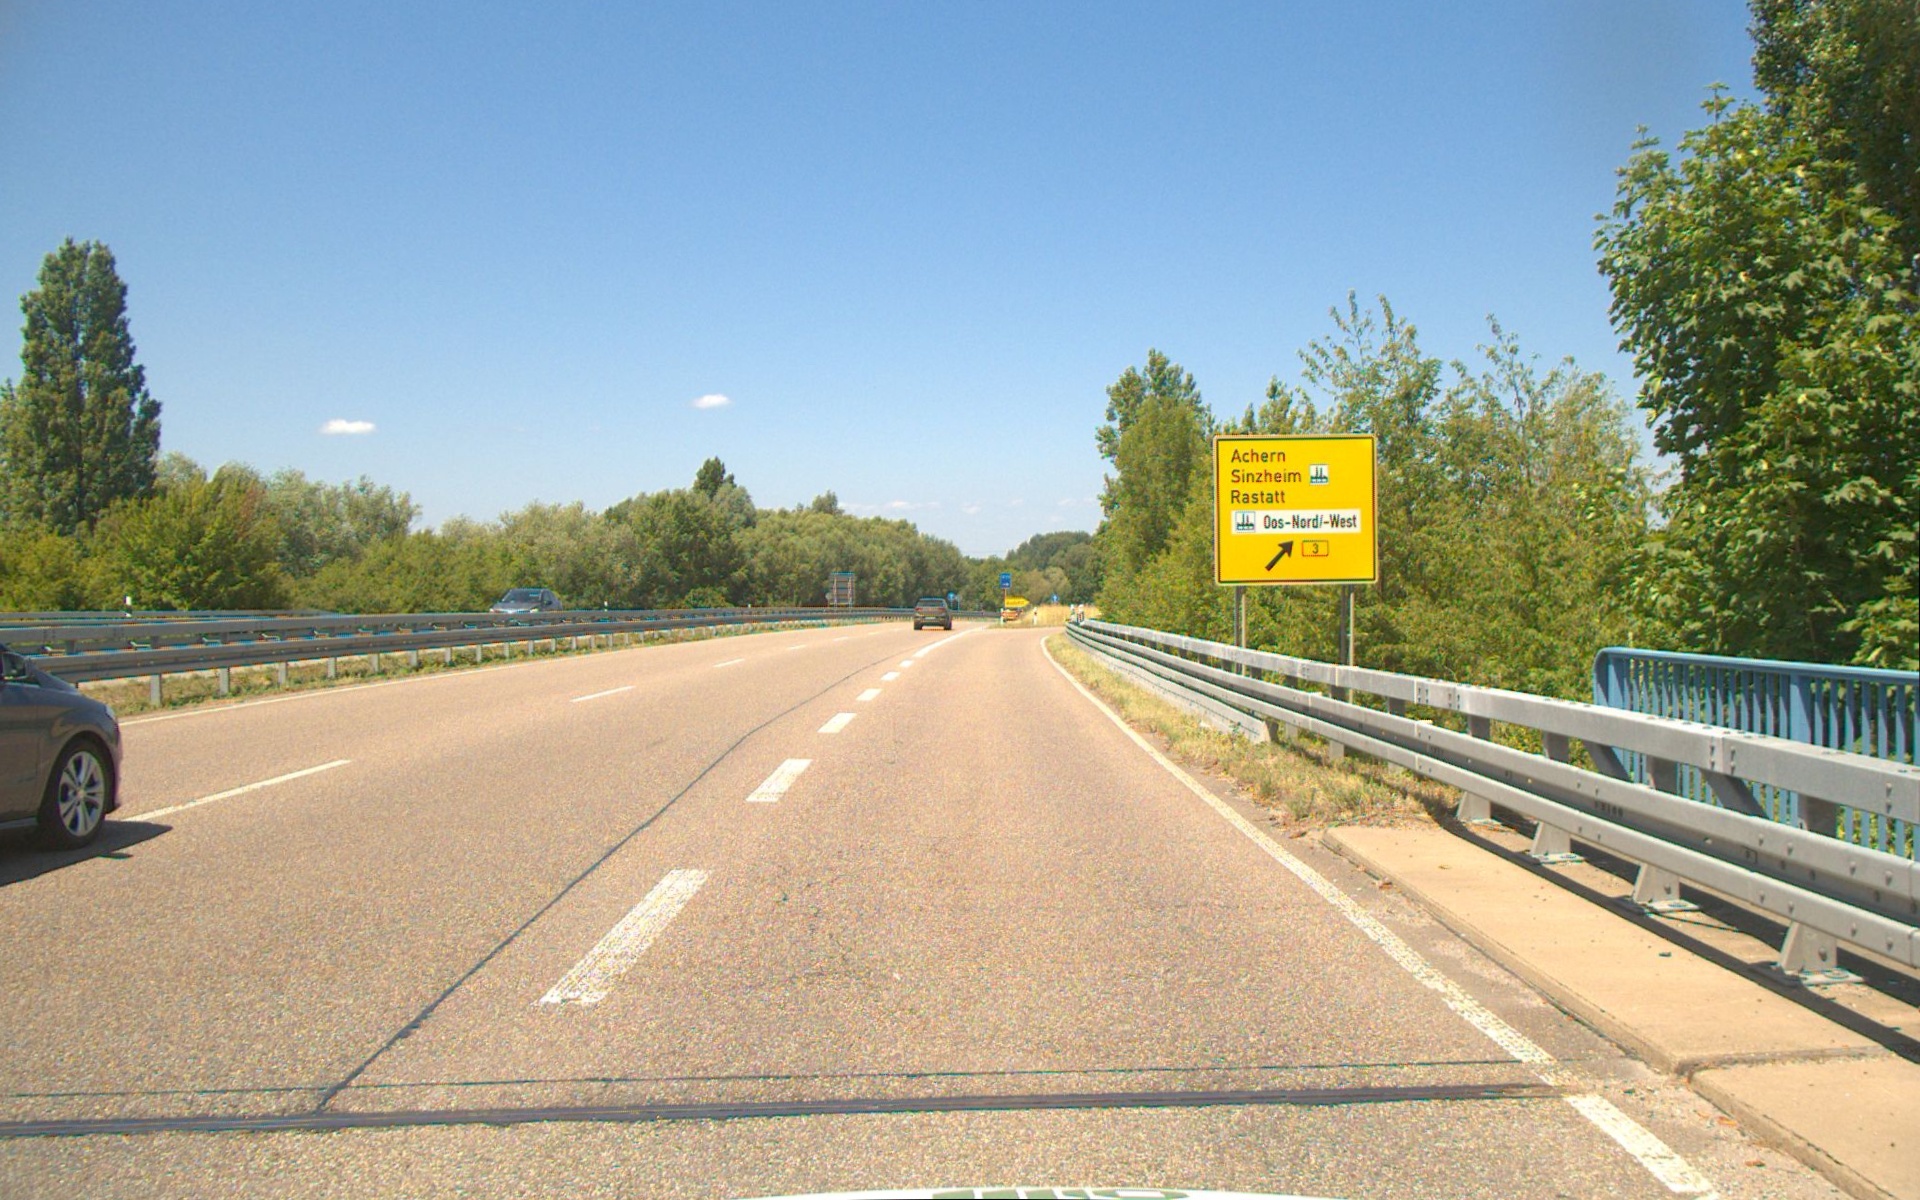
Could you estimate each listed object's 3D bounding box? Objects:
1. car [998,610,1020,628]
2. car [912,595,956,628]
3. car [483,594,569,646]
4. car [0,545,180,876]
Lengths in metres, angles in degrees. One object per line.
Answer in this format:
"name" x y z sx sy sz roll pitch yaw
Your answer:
"car" 4.566 1.739 154.009 1.802 1.489 4.002 1 1 4
"car" -1.293 0.574 84.026 1.802 1.556 4.473 1 1 5
"car" -14.756 0.668 56.437 1.787 1.676 4.189 0 0 1
"car" -5.805 0.558 8.033 1.756 1.697 4.555 1 0 1
